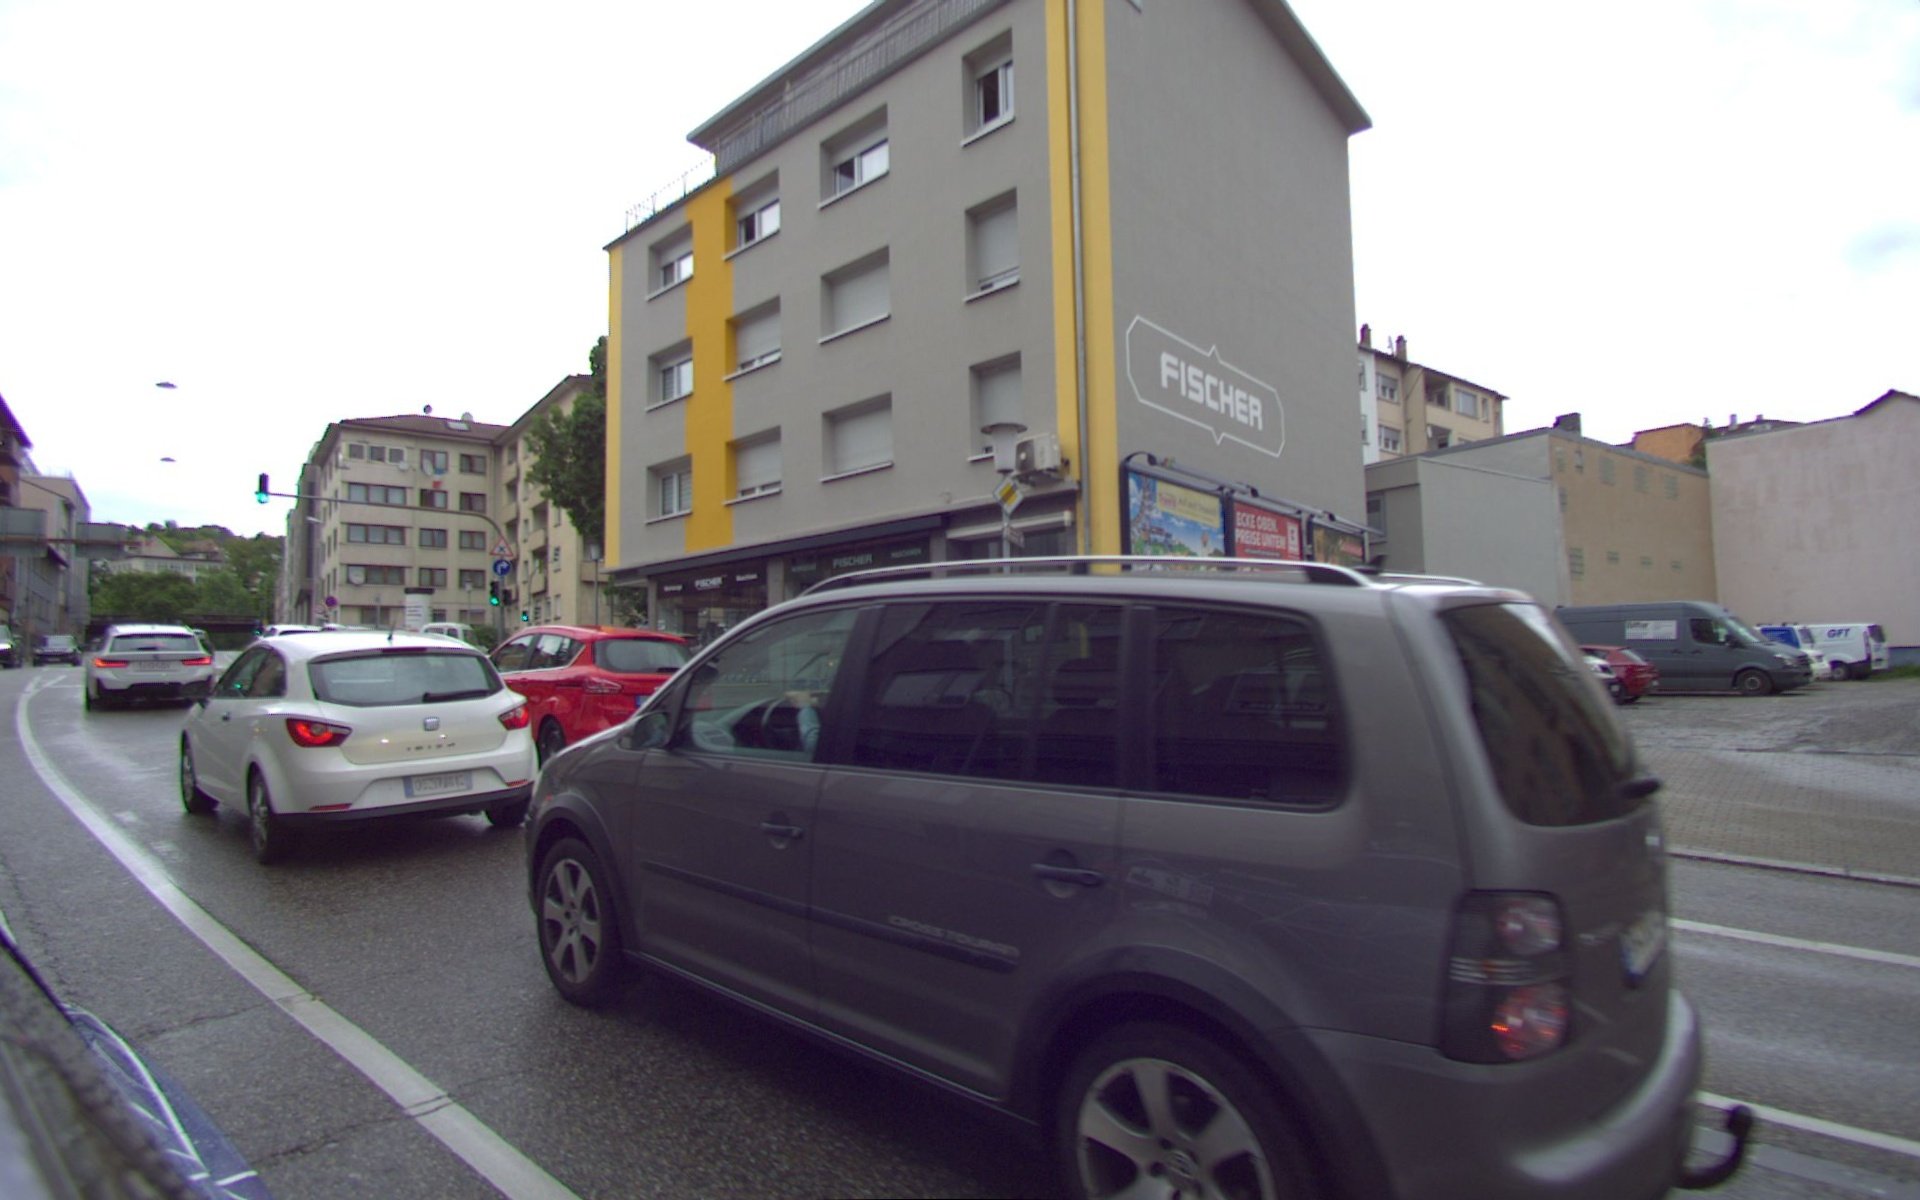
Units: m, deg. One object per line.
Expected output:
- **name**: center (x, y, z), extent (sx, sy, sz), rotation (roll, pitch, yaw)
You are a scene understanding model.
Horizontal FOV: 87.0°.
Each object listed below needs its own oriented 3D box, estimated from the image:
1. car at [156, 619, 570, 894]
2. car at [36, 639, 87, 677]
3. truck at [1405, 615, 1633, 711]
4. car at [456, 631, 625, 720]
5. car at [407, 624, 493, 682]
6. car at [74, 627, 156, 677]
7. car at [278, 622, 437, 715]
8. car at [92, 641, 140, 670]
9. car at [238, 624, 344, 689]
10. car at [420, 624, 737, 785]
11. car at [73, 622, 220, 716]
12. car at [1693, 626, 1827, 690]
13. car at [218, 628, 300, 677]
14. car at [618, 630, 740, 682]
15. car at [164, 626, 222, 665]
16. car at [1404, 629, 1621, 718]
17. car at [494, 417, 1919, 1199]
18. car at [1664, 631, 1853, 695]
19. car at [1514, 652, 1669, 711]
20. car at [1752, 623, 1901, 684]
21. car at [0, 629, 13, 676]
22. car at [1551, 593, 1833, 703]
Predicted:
- **car**: center (-4.742, 0.908, 7.726), extent (4.292, 1.491, 1.679), rotation (-1, -1, 45)
- **car**: center (-47.989, 3.117, 54.118), extent (1.766, 1.741, 4.008), rotation (1, -6, -38)
- **truck**: center (12.980, 1.521, 23.680), extent (1.696, 1.987, 4.227), rotation (1, -7, -44)
- **car**: center (-8.654, 1.505, 20.742), extent (3.928, 1.622, 1.637), rotation (-1, -5, 43)
- **car**: center (-18.320, 1.964, 36.558), extent (1.704, 1.843, 4.070), rotation (6, -5, -13)
- **car**: center (-26.286, 1.585, 31.424), extent (1.784, 1.425, 4.385), rotation (3, -3, -41)
- **car**: center (-12.097, 1.318, 20.199), extent (1.785, 1.644, 4.347), rotation (6, -5, -42)
- **car**: center (-47.574, 3.154, 57.116), extent (1.811, 1.566, 4.009), rotation (1, -4, -36)
- **car**: center (-17.565, 1.486, 26.485), extent (1.784, 1.554, 4.386), rotation (3, -4, -40)
- **car**: center (-4.568, 1.099, 11.810), extent (4.130, 1.527, 1.721), rotation (-1, -5, 43)
- **car**: center (-15.273, 1.197, 18.902), extent (1.785, 1.533, 4.566), rotation (3, -3, -43)
- **car**: center (24.377, 1.788, 30.888), extent (1.301, 1.751, 2.850), rotation (1, -6, -39)
- **car**: center (-23.226, 1.756, 33.466), extent (1.796, 1.489, 4.386), rotation (3, -4, -40)
- **car**: center (-10.182, 1.991, 36.998), extent (1.766, 1.741, 4.303), rotation (1, -1, 29)
- **car**: center (-33.532, 1.942, 44.189), extent (1.796, 1.548, 4.386), rotation (3, -2, -40)
- **car**: center (11.564, 1.585, 21.359), extent (1.654, 1.684, 3.551), rotation (1, -6, -41)
- **car**: center (0.367, 0.663, 3.322), extent (4.560, 1.718, 1.787), rotation (-1, -2, 42)
- **car**: center (22.383, 1.799, 28.469), extent (1.765, 1.564, 3.765), rotation (1, -6, -40)
- **car**: center (15.393, 2.008, 24.757), extent (1.301, 1.285, 2.850), rotation (1, -6, -39)
- **car**: center (29.636, 1.852, 34.694), extent (1.504, 1.851, 3.503), rotation (1, -6, -39)
- **car**: center (-31.650, 1.717, 32.439), extent (1.847, 1.453, 4.004), rotation (1, -4, -43)
- **car**: center (19.607, 1.392, 27.444), extent (2.099, 2.578, 5.642), rotation (0, -6, -37)
